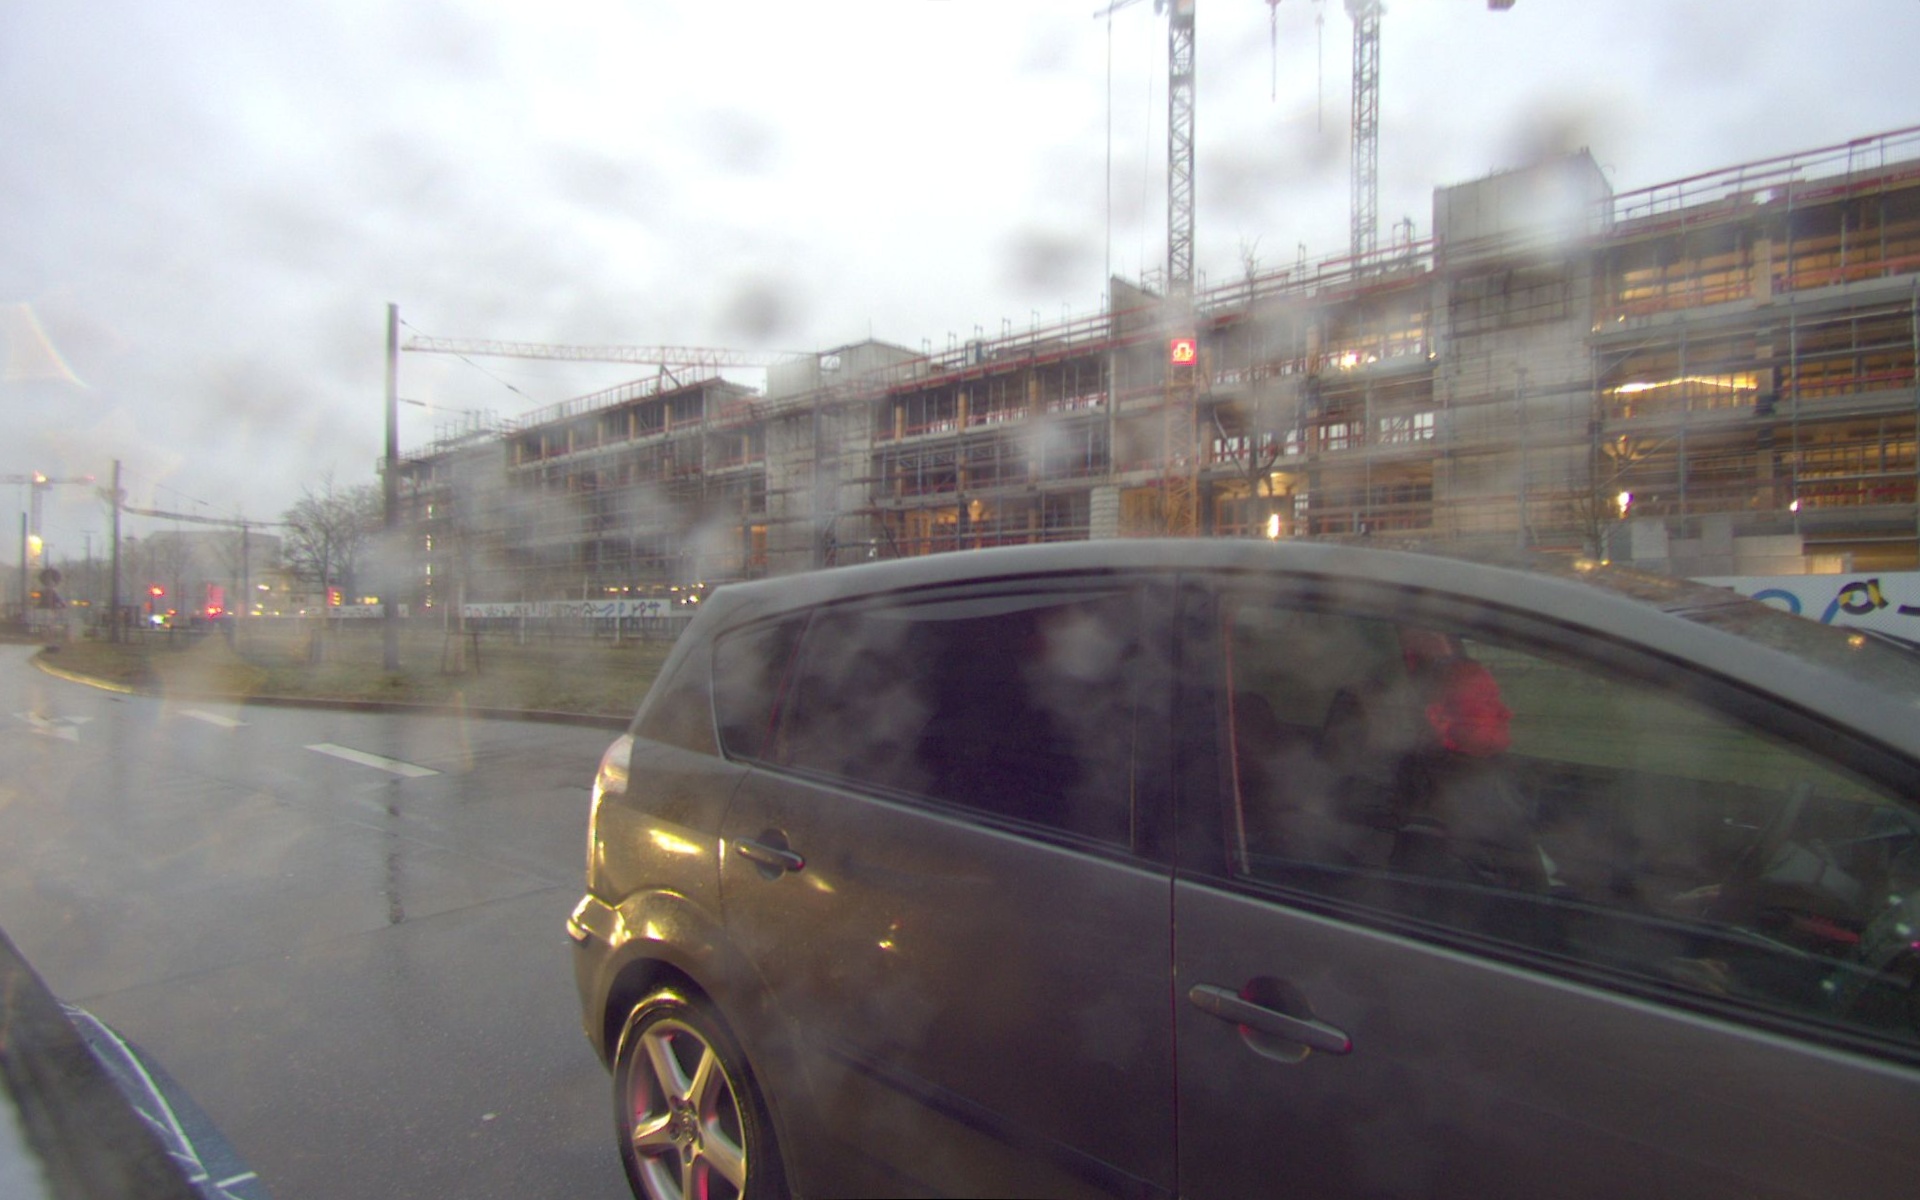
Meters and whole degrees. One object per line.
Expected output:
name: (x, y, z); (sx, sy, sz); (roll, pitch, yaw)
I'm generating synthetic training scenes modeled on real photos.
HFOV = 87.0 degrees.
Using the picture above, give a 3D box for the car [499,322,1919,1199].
car: (1.016, 0.597, 1.888); (4.131, 1.659, 1.793); (-1, -1, 39)
